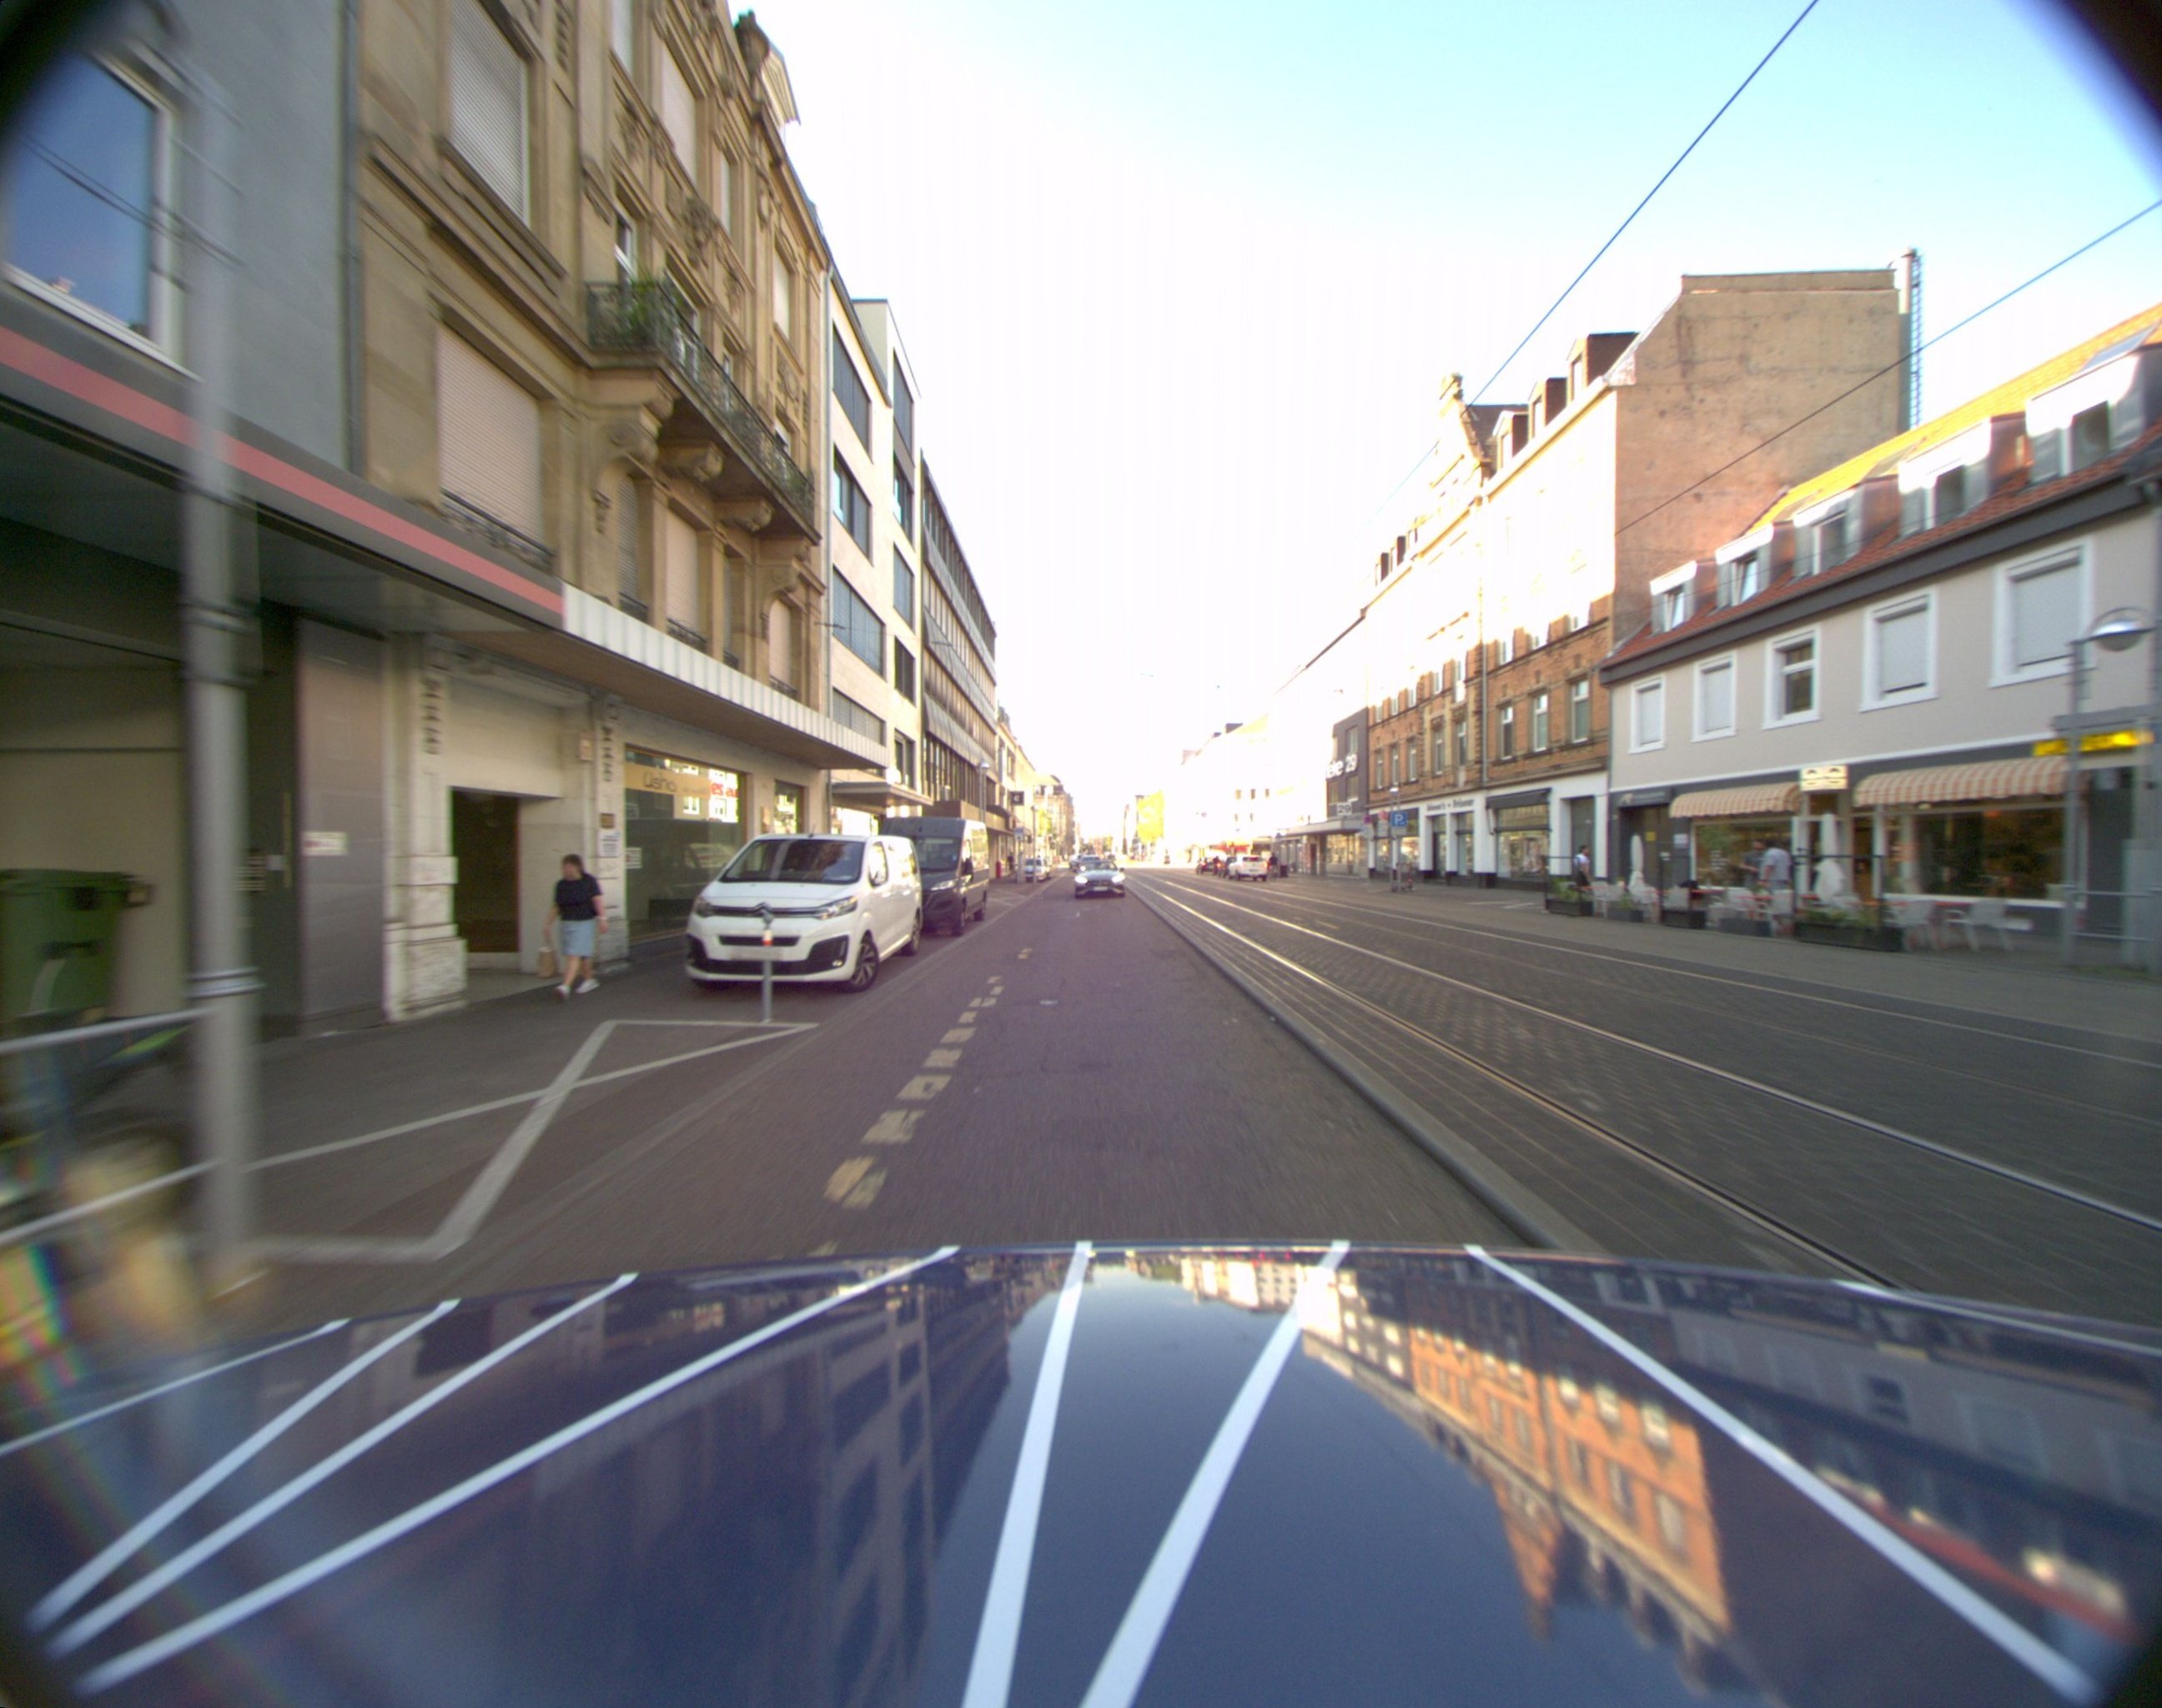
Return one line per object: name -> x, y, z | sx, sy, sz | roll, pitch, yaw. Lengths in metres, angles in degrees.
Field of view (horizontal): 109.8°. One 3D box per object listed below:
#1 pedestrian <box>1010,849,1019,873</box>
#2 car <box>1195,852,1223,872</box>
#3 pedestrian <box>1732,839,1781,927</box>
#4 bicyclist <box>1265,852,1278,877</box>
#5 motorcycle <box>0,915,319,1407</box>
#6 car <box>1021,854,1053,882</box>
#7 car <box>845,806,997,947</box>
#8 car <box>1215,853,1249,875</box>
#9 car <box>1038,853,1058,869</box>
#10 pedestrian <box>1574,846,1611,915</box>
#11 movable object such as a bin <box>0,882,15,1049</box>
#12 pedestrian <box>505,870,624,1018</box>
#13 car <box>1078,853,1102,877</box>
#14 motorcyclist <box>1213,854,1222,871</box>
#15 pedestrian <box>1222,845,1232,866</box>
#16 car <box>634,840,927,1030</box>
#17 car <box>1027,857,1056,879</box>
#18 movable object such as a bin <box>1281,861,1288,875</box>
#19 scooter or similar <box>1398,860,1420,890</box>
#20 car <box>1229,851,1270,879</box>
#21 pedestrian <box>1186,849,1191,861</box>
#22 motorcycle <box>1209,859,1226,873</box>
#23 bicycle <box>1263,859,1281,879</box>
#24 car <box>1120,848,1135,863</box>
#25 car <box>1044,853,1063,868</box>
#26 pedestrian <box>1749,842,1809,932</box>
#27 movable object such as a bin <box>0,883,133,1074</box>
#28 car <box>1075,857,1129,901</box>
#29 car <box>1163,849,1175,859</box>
pedestrian -> -4.853, 0.510, 55.812 | 0.513, 1.665, 0.744 | -2, 1, 1
car -> 10.618, 0.653, 63.222 | 1.667, 1.521, 4.000 | 1, 1, 1
pedestrian -> 14.466, 0.612, 16.291 | 0.657, 1.839, 0.583 | -2, 1, 31
bicyclist -> 12.171, 0.667, 48.483 | 0.576, 1.538, 0.861 | -2, 1, 1
motorcycle -> -3.650, 0.990, 2.137 | 0.660, 1.423, 2.322 | 0, 1, 0
car -> -2.609, 0.814, 45.467 | 1.630, 1.543, 3.508 | 2, 1, 1
car -> -3.232, 0.460, 16.686 | 2.051, 2.486, 5.687 | -2, -1, 0
car -> 10.678, 0.682, 54.122 | 1.667, 1.521, 4.000 | 1, 1, 1
car -> -3.007, 0.642, 69.981 | 1.630, 1.342, 3.330 | 2, 1, 1
pedestrian -> 13.716, 0.693, 20.383 | 0.581, 1.795, 0.659 | -2, 1, 13
movable object such as a bin -> -9.215, 0.904, 5.847 | 0.881, 1.353, 0.801 | 0, 1, 1
pedestrian -> -5.522, 0.932, 8.170 | 0.697, 1.499, 0.814 | 0, 1, 1
car -> 0.654, 0.779, 55.995 | 1.630, 1.593, 3.330 | 2, 1, 1
motorcyclist -> 10.456, 0.647, 58.288 | 0.540, 1.296, 0.655 | 1, 1, 1
pedestrian -> 12.752, 0.149, 66.364 | 0.705, 1.830, 0.636 | -2, 1, 1
car -> -3.489, 0.786, 10.029 | 2.051, 1.899, 4.877 | 0, 1, -2
car -> -2.619, 0.916, 50.750 | 1.630, 1.342, 3.330 | 2, 1, 1
movable object such as a bin -> 14.342, 0.977, 53.589 | 0.325, 0.942, 0.467 | -1, 1, 1
scooter or similar -> 13.923, 0.886, 32.270 | 0.404, 1.216, 1.202 | -2, 1, 1
car -> 10.316, 0.631, 46.772 | 1.802, 1.625, 3.676 | 0, 1, 1
pedestrian -> 16.945, 0.192, 119.840 | 0.669, 1.939, 0.620 | -2, 1, 1
motorcycle -> 10.462, 0.914, 58.285 | 0.907, 0.987, 1.935 | 1, 1, 1
bicycle -> 12.198, 0.954, 48.668 | 0.610, 1.142, 2.100 | -2, 1, 1
car -> 6.827, 0.232, 112.633 | 1.998, 2.002, 4.000 | -2, 1, 2
car -> -2.724, 0.627, 74.916 | 1.630, 1.342, 3.463 | 2, 1, 1
pedestrian -> 14.085, 0.656, 15.334 | 0.658, 1.752, 0.581 | -3, 1, -7
movable object such as a bin -> -8.287, 0.921, 5.877 | 0.881, 1.353, 0.801 | 0, 1, 1
car -> 0.737, 0.864, 28.623 | 1.858, 1.463, 4.785 | 0, 1, 0
car -> 15.067, 0.018, 129.616 | 1.630, 1.524, 3.463 | 2, 1, 1
